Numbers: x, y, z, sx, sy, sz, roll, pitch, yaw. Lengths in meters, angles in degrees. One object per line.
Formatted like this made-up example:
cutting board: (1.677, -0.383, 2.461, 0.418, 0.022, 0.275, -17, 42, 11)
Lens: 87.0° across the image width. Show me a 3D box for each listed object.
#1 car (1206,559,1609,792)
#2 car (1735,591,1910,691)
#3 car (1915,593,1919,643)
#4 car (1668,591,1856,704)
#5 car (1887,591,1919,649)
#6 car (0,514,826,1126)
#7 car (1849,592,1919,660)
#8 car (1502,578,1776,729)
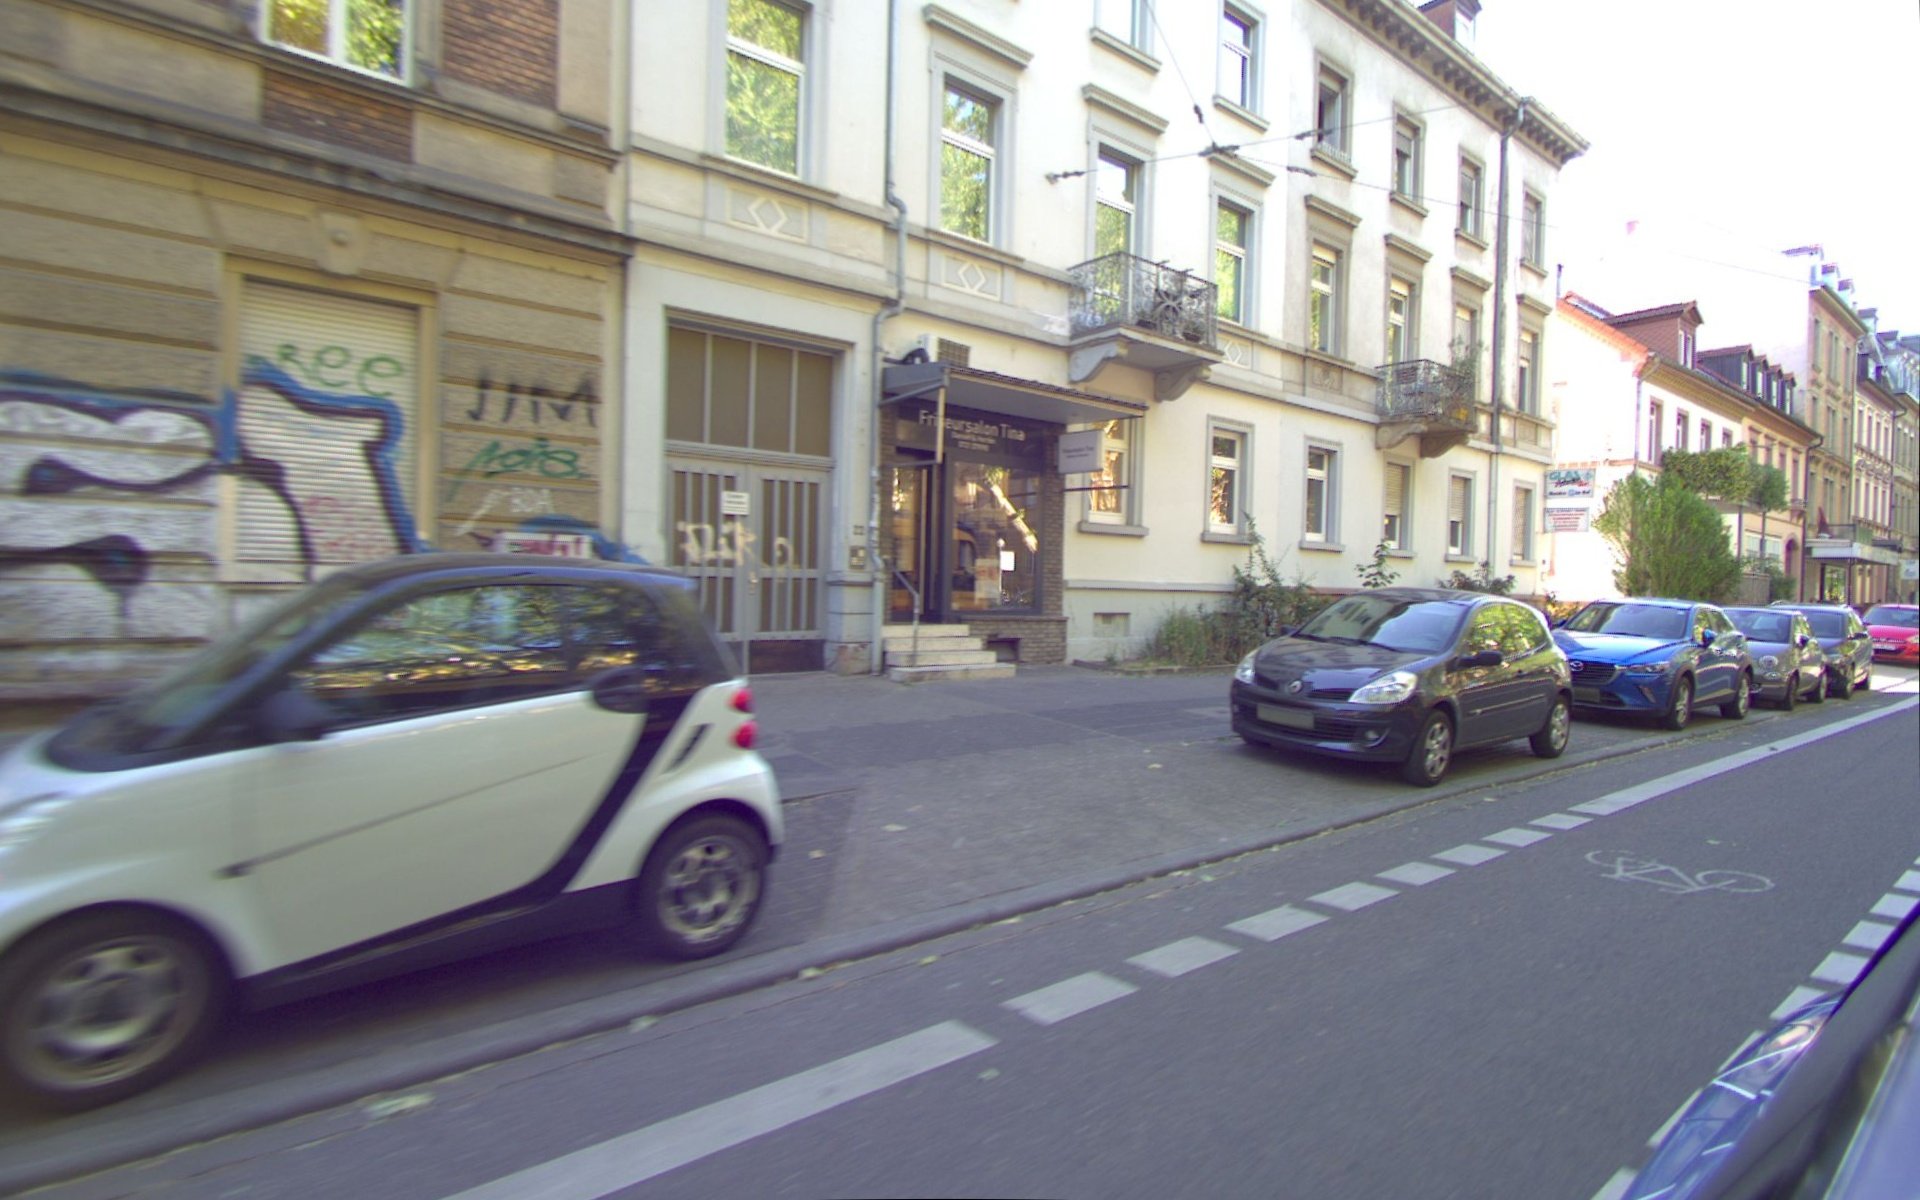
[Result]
car: (4.083, 0.507, 8.982, 3.838, 1.523, 1.636, 0, 6, -40)
car: (15.960, 0.683, 18.692, 3.619, 1.587, 1.730, 0, 3, -38)
car: (32.848, 0.622, 33.159, 3.619, 1.587, 1.703, 0, 3, -38)
car: (12.657, 0.674, 15.920, 3.297, 1.524, 1.543, 0, 3, -38)
car: (28.310, 0.594, 29.184, 3.619, 1.587, 1.703, 0, 3, -38)
car: (-2.128, 0.531, 3.890, 2.770, 1.561, 1.514, 0, 5, -40)
car: (24.416, 0.632, 25.978, 3.619, 1.587, 1.703, 0, 3, -38)
car: (8.806, 0.577, 13.027, 3.836, 1.523, 1.731, 0, 6, -38)
